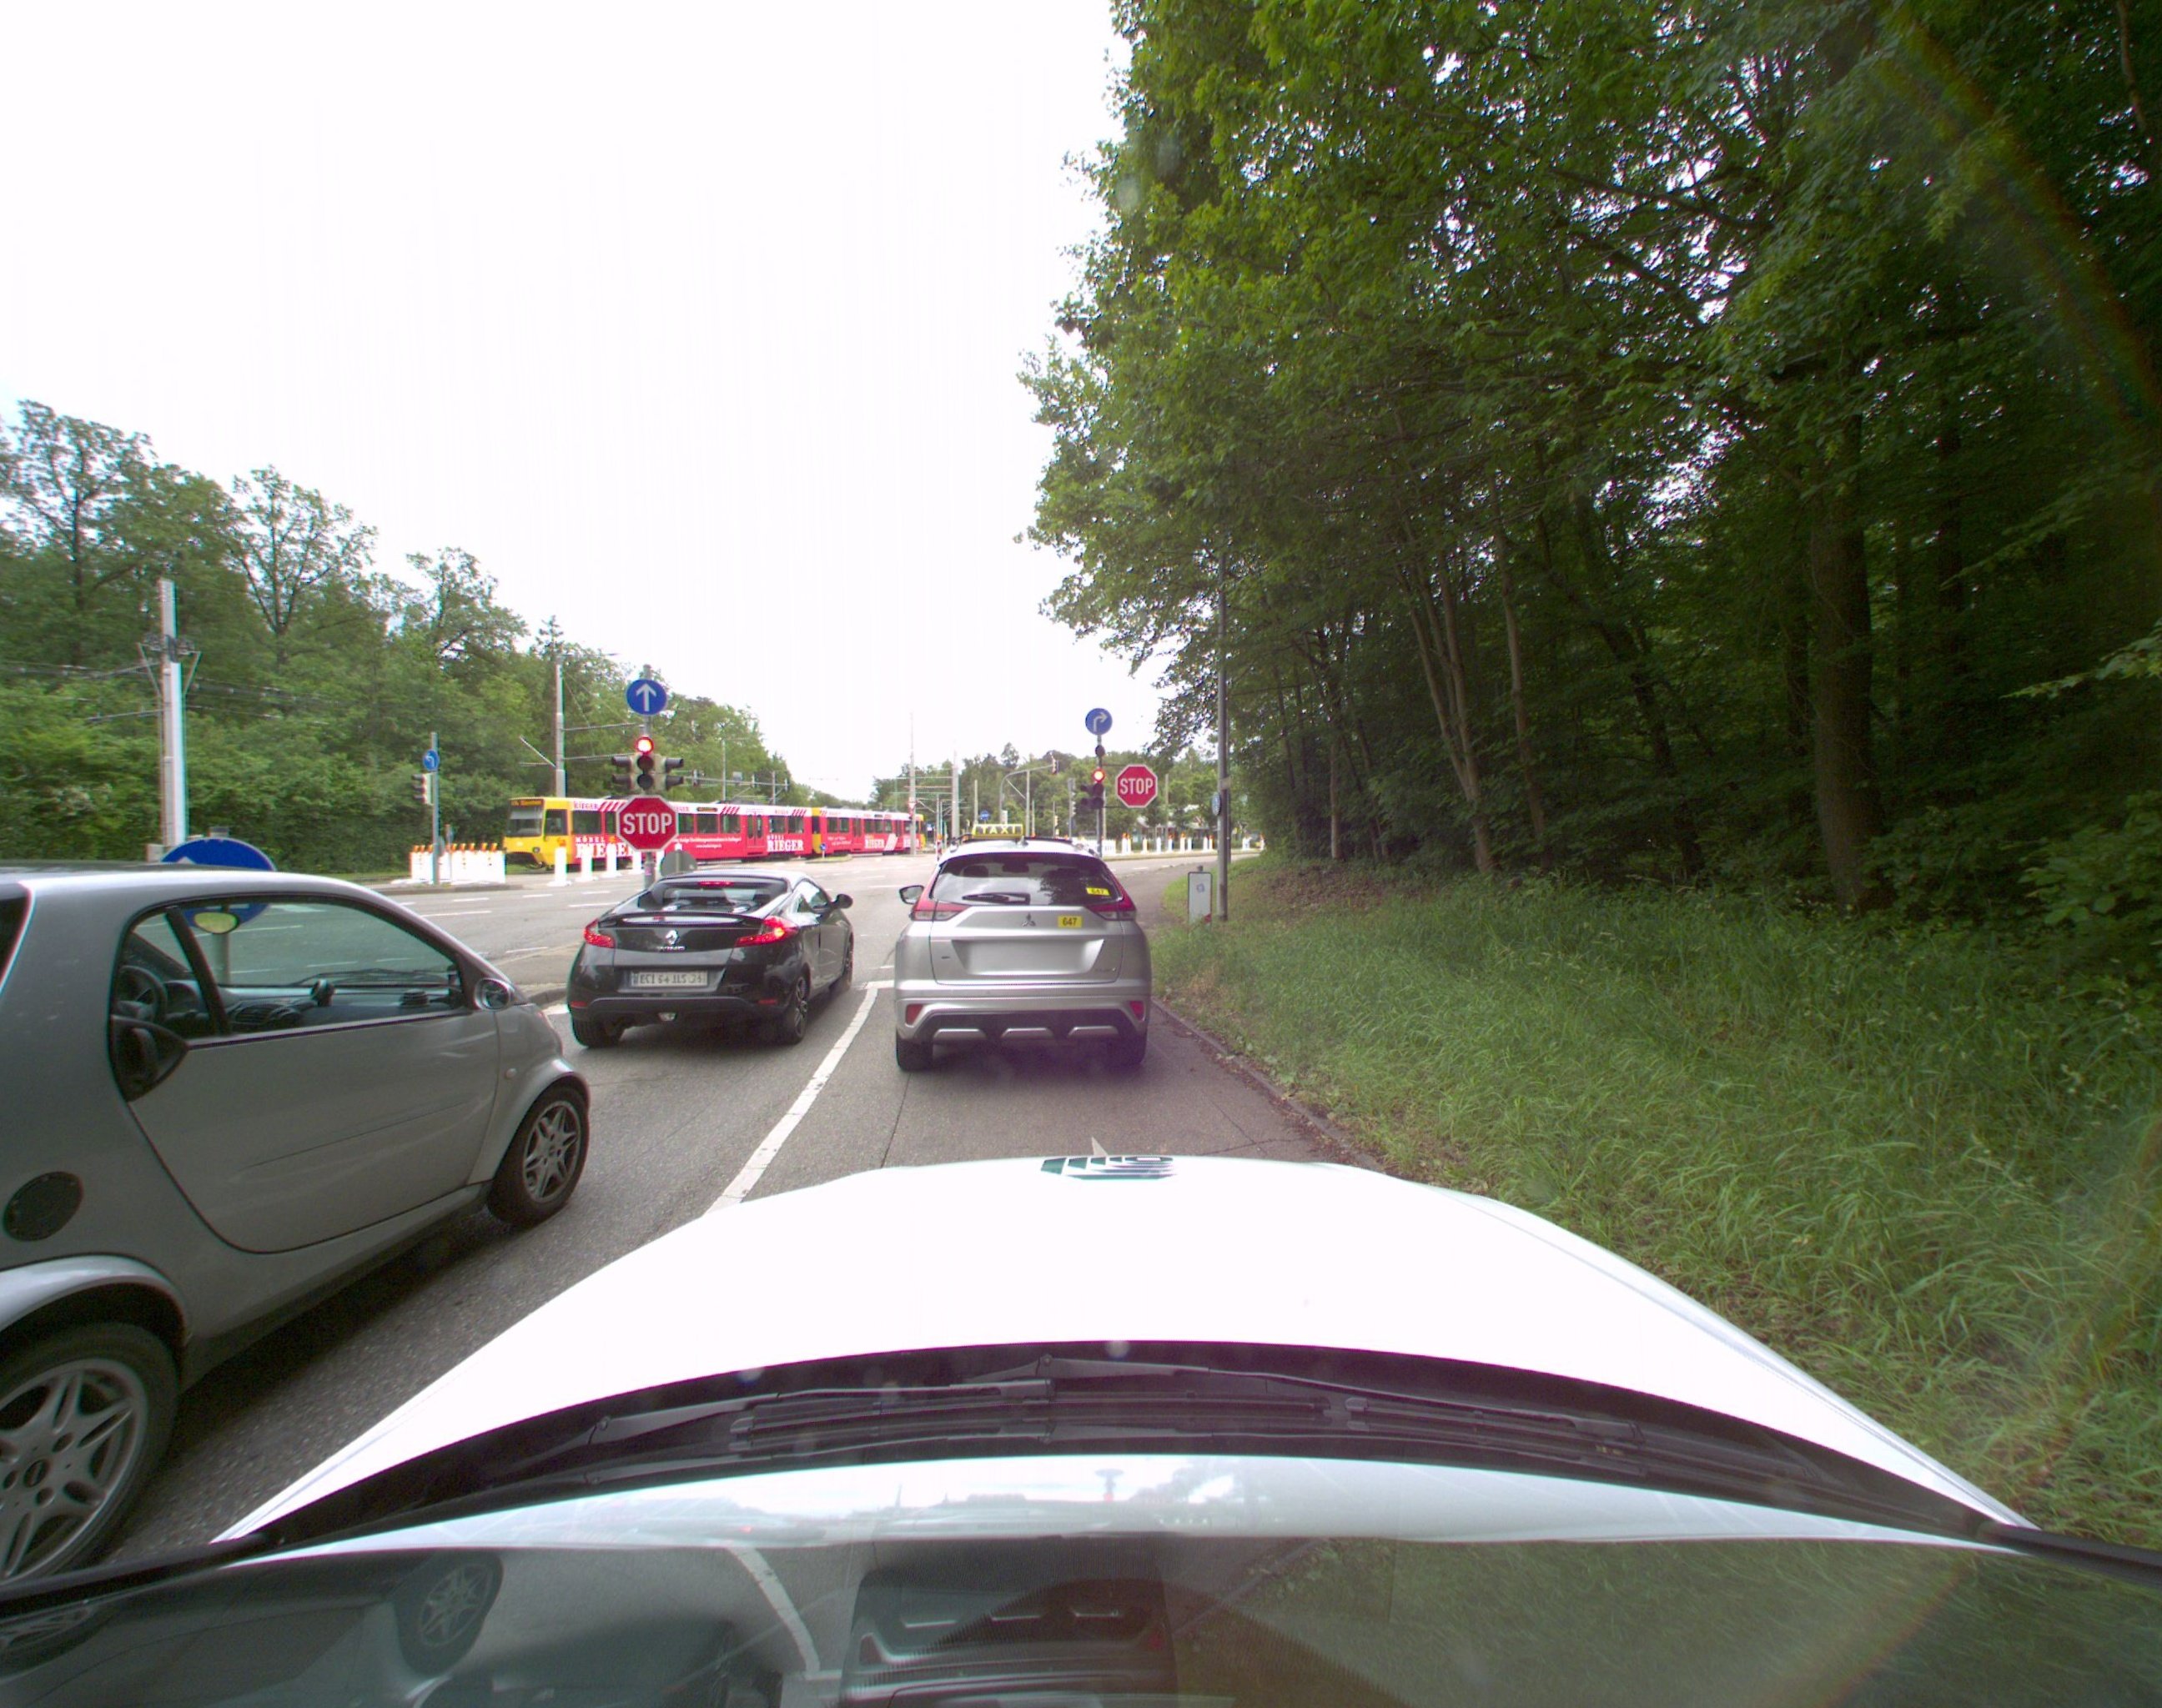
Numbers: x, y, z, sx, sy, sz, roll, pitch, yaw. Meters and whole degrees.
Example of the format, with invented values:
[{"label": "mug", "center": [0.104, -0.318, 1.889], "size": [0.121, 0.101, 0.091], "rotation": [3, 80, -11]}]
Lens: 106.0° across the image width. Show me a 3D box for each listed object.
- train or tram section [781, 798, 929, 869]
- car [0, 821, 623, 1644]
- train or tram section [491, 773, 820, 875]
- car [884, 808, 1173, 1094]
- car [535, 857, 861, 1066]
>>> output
[{"label": "train or tram section", "center": [-16.607, -1.287, 62.722], "size": [2.928, 4.650, 18.601], "rotation": [-1, 0, 11]}, {"label": "car", "center": [-2.902, 0.731, 2.580], "size": [1.455, 1.586, 2.724], "rotation": [-1, 1, -4]}, {"label": "train or tram section", "center": [-21.583, -1.225, 44.510], "size": [2.931, 4.418, 18.823], "rotation": [-1, -1, 20]}, {"label": "car", "center": [-0.516, 0.583, 6.962], "size": [1.772, 1.748, 3.772], "rotation": [1, 1, -7]}, {"label": "car", "center": [-3.185, 0.758, 7.569], "size": [1.773, 1.361, 3.466], "rotation": [-1, 1, -9]}]
